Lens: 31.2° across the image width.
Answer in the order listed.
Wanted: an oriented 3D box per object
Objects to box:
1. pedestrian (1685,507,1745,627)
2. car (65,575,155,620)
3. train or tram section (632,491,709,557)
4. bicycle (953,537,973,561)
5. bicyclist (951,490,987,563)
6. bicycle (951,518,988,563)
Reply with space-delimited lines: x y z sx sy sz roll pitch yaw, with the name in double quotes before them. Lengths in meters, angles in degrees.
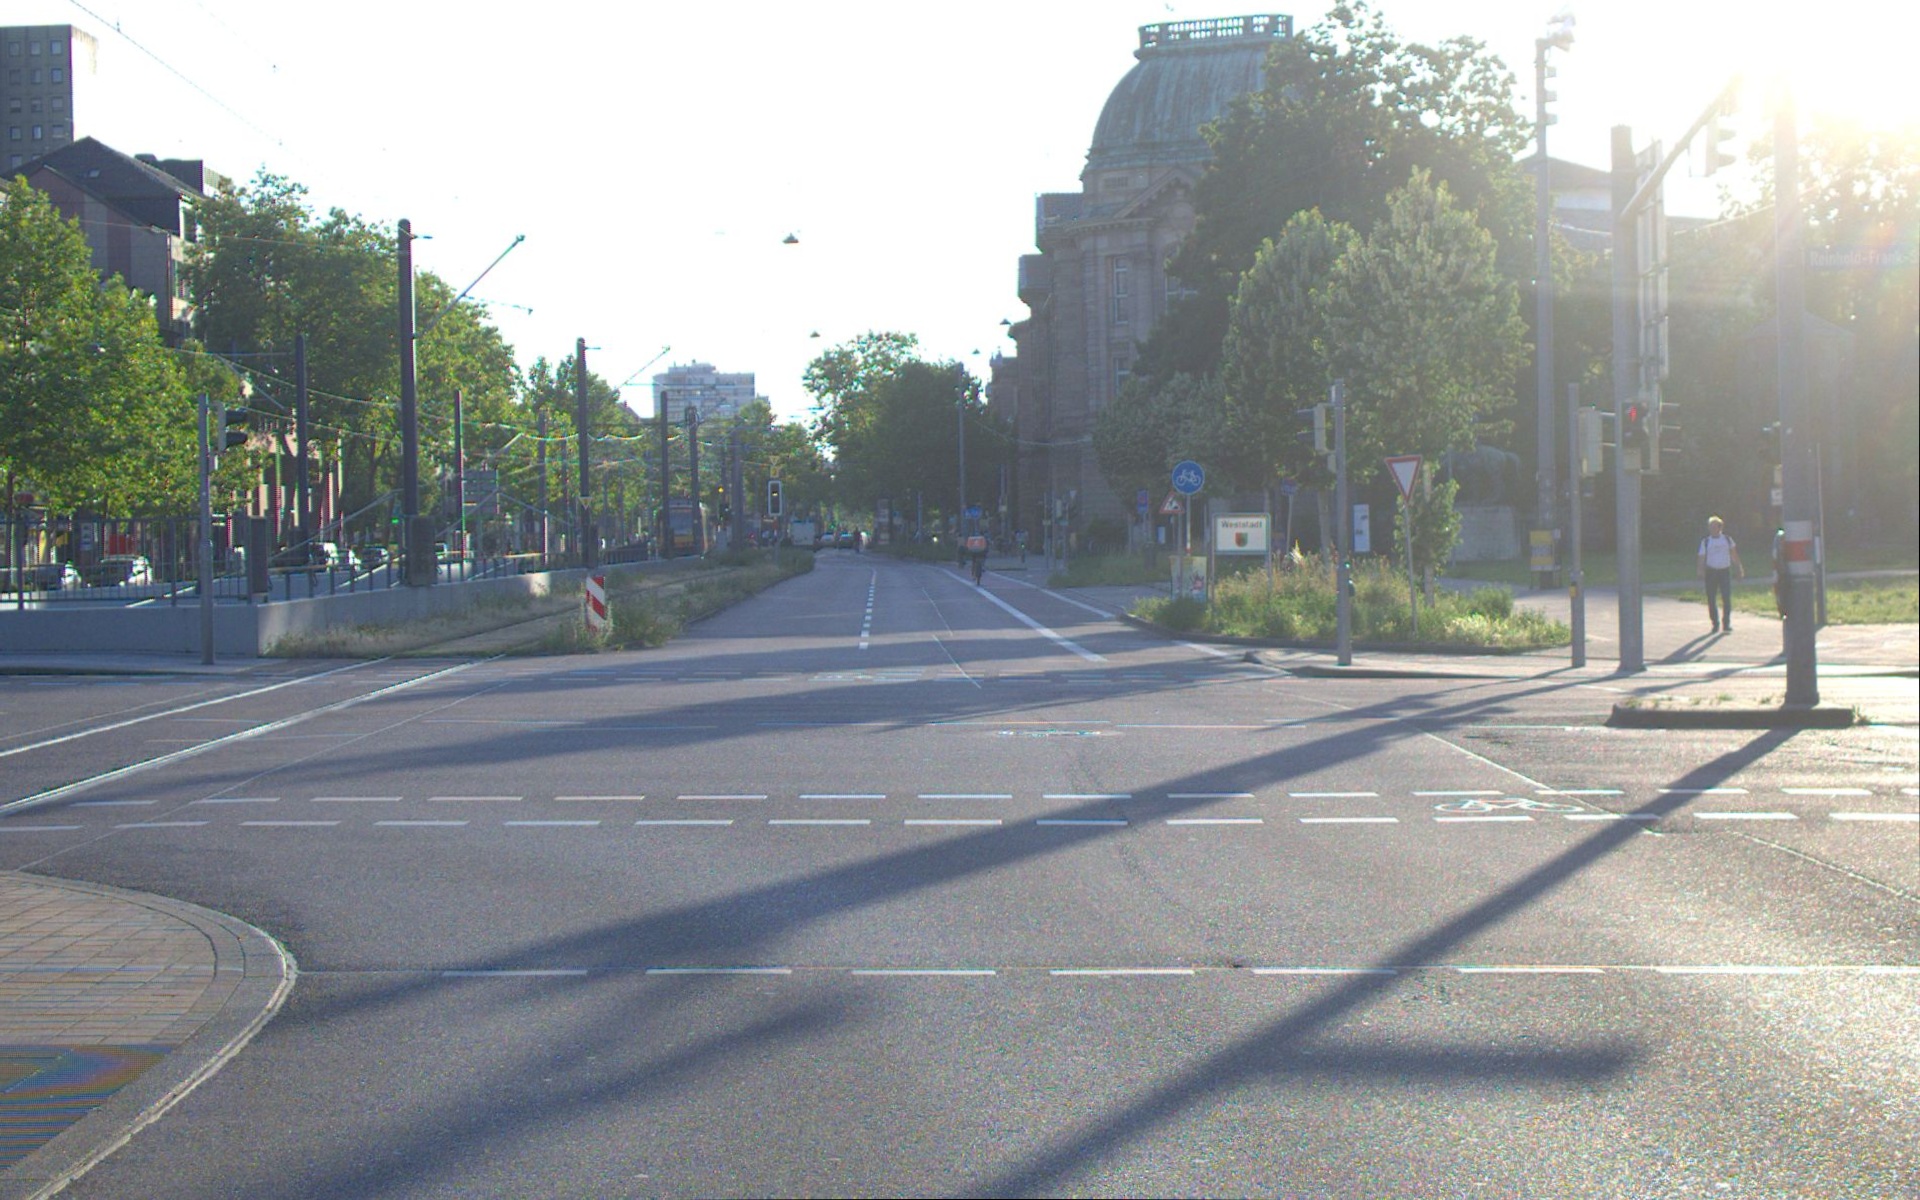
"pedestrian" 11.464 -0.504 52.217 0.833 1.797 0.810 -1 1 15
"car" -28.651 -0.095 115.972 1.819 1.415 4.000 -1 1 3
"train or tram section" -17.363 -4.558 206.508 4.385 3.837 11.412 -1 1 -5
"bicycle" 0.142 -2.396 161.871 0.924 1.108 2.333 -1 1 -1
"bicyclist" 0.281 -2.319 107.866 1.082 2.268 0.986 0 1 -1
"bicycle" 0.283 -1.873 107.912 1.098 1.394 2.832 -1 1 -1
